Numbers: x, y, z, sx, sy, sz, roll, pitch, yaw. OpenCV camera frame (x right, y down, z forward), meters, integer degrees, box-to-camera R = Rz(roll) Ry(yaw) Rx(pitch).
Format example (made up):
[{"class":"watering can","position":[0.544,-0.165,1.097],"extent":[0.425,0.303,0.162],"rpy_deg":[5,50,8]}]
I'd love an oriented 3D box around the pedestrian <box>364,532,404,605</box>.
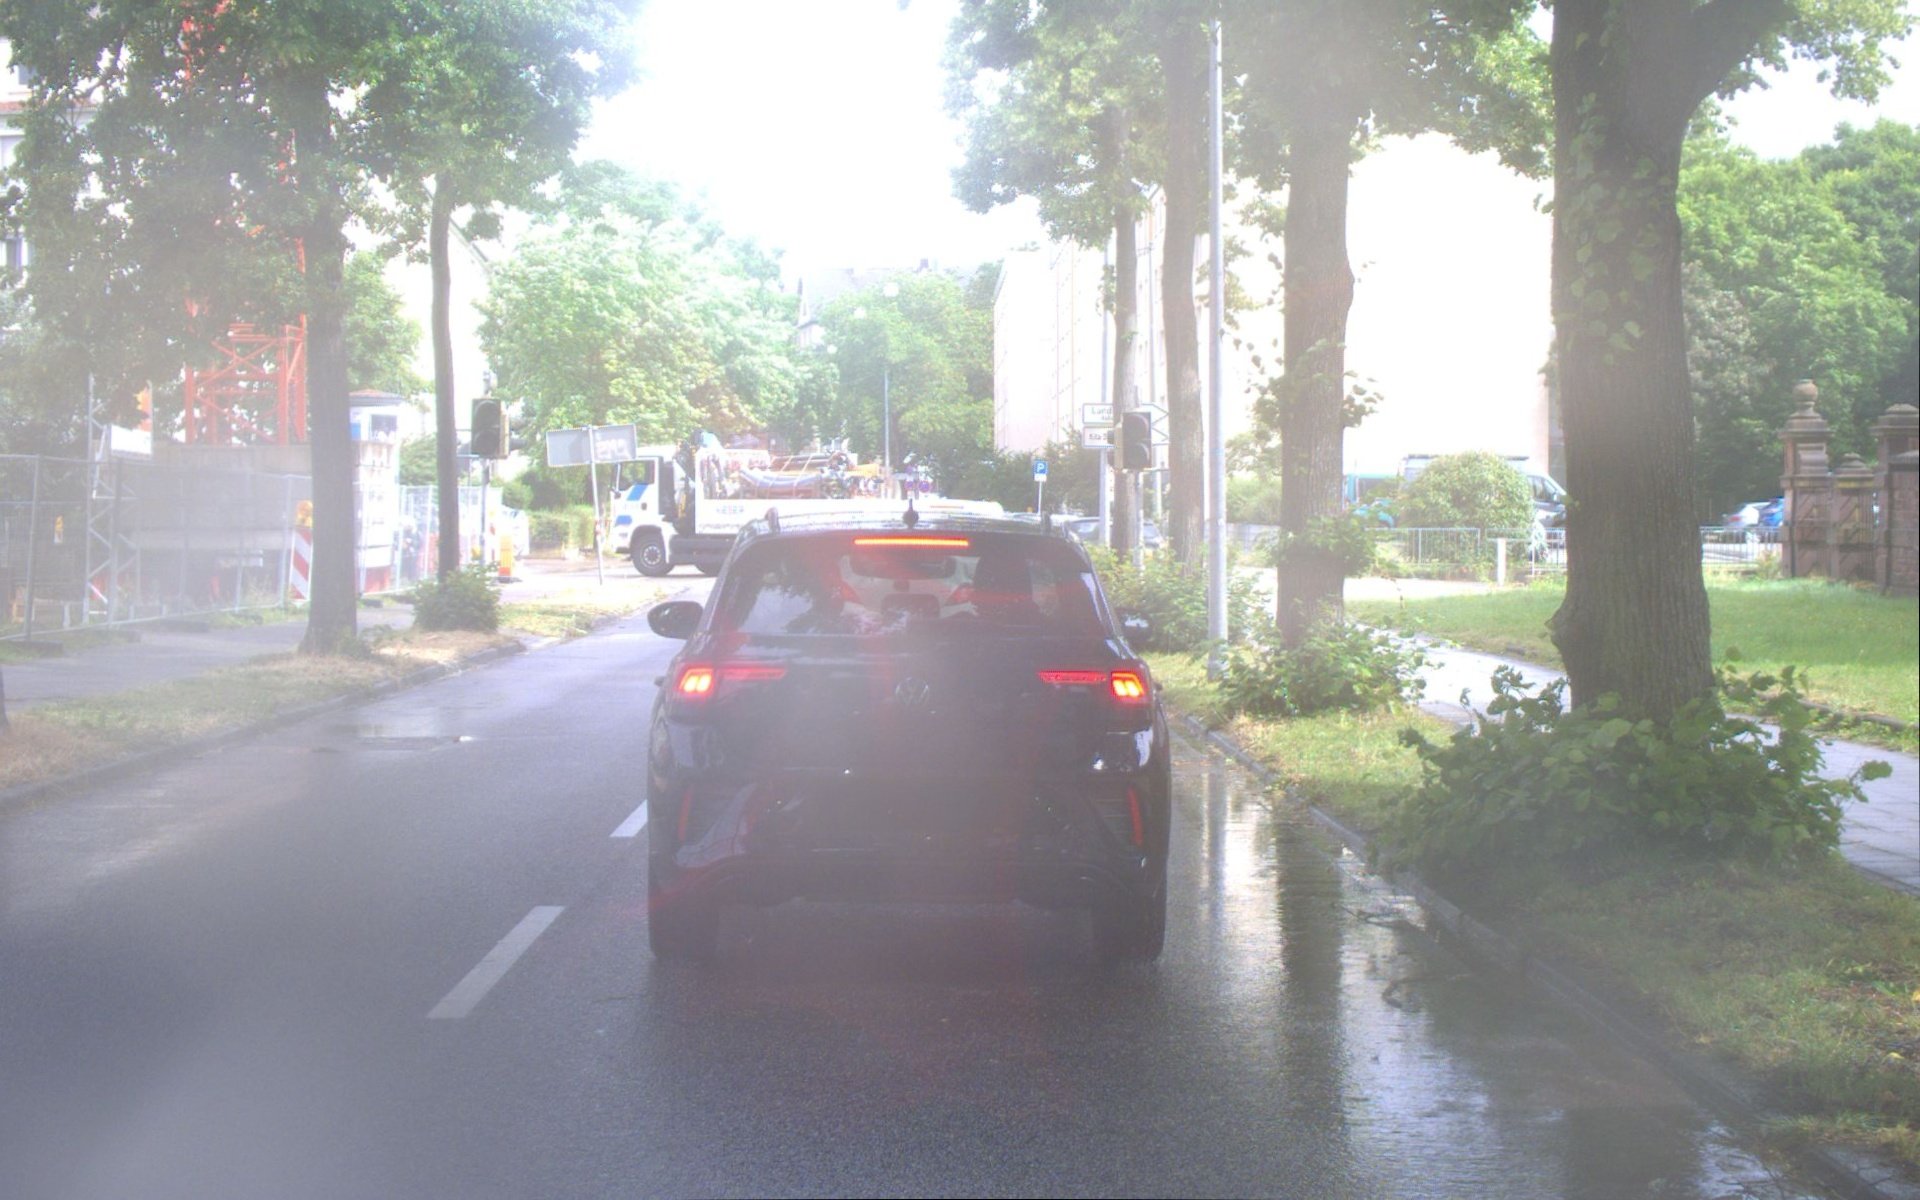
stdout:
[{"class":"pedestrian","position":[-11.867,-0.648,70.830],"extent":[0.660,1.480,0.673],"rpy_deg":[0,2,-25]}]

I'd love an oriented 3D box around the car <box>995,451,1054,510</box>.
[{"class":"car","position":[2.260,-4.215,121.787],"extent":[1.993,2.007,4.000],"rpy_deg":[0,1,0]}]

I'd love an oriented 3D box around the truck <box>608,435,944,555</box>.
[{"class":"truck","position":[-4.389,-2.505,80.288],"extent":[8.234,2.647,2.808],"rpy_deg":[3,3,42]}]

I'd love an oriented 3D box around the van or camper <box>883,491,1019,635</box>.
[{"class":"van or camper","position":[-0.089,-0.572,49.045],"extent":[1.819,1.941,4.195],"rpy_deg":[1,2,1]}]

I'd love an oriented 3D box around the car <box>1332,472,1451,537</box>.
[{"class":"car","position":[13.009,-2.877,103.551],"extent":[3.408,1.775,1.759],"rpy_deg":[-3,1,9]}]

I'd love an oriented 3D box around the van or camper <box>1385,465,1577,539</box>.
[{"class":"van or camper","position":[14.160,-2.679,93.619],"extent":[4.875,1.919,2.131],"rpy_deg":[1,2,0]}]

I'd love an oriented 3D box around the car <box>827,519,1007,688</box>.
[{"class":"car","position":[-0.425,0.003,37.832],"extent":[1.680,1.702,3.909],"rpy_deg":[-2,1,3]}]

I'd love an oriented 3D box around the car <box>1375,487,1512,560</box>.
[{"class":"car","position":[12.388,-1.974,88.249],"extent":[3.408,1.775,1.759],"rpy_deg":[-1,1,6]}]

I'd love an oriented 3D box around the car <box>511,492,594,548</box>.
[{"class":"car","position":[-11.830,-2.341,99.976],"extent":[1.591,1.507,3.731],"rpy_deg":[-3,2,6]}]

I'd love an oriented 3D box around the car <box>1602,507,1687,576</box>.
[{"class":"car","position":[17.771,-1.537,89.392],"extent":[1.743,1.678,3.870],"rpy_deg":[-3,1,6]}]

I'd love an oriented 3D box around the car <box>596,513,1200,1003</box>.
[{"class":"car","position":[-0.222,0.451,12.873],"extent":[1.894,1.517,4.001],"rpy_deg":[1,2,-1]}]

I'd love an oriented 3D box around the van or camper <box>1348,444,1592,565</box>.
[{"class":"van or camper","position":[11.252,-2.118,76.050],"extent":[5.032,2.587,2.168],"rpy_deg":[-1,1,-1]}]

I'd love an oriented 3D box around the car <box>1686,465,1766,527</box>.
[{"class":"car","position":[24.684,-3.348,110.927],"extent":[1.867,1.850,3.809],"rpy_deg":[-3,1,4]}]

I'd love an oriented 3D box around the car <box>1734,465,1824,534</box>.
[{"class":"car","position":[25.723,-3.154,108.071],"extent":[1.994,2.006,4.000],"rpy_deg":[-3,1,4]}]
